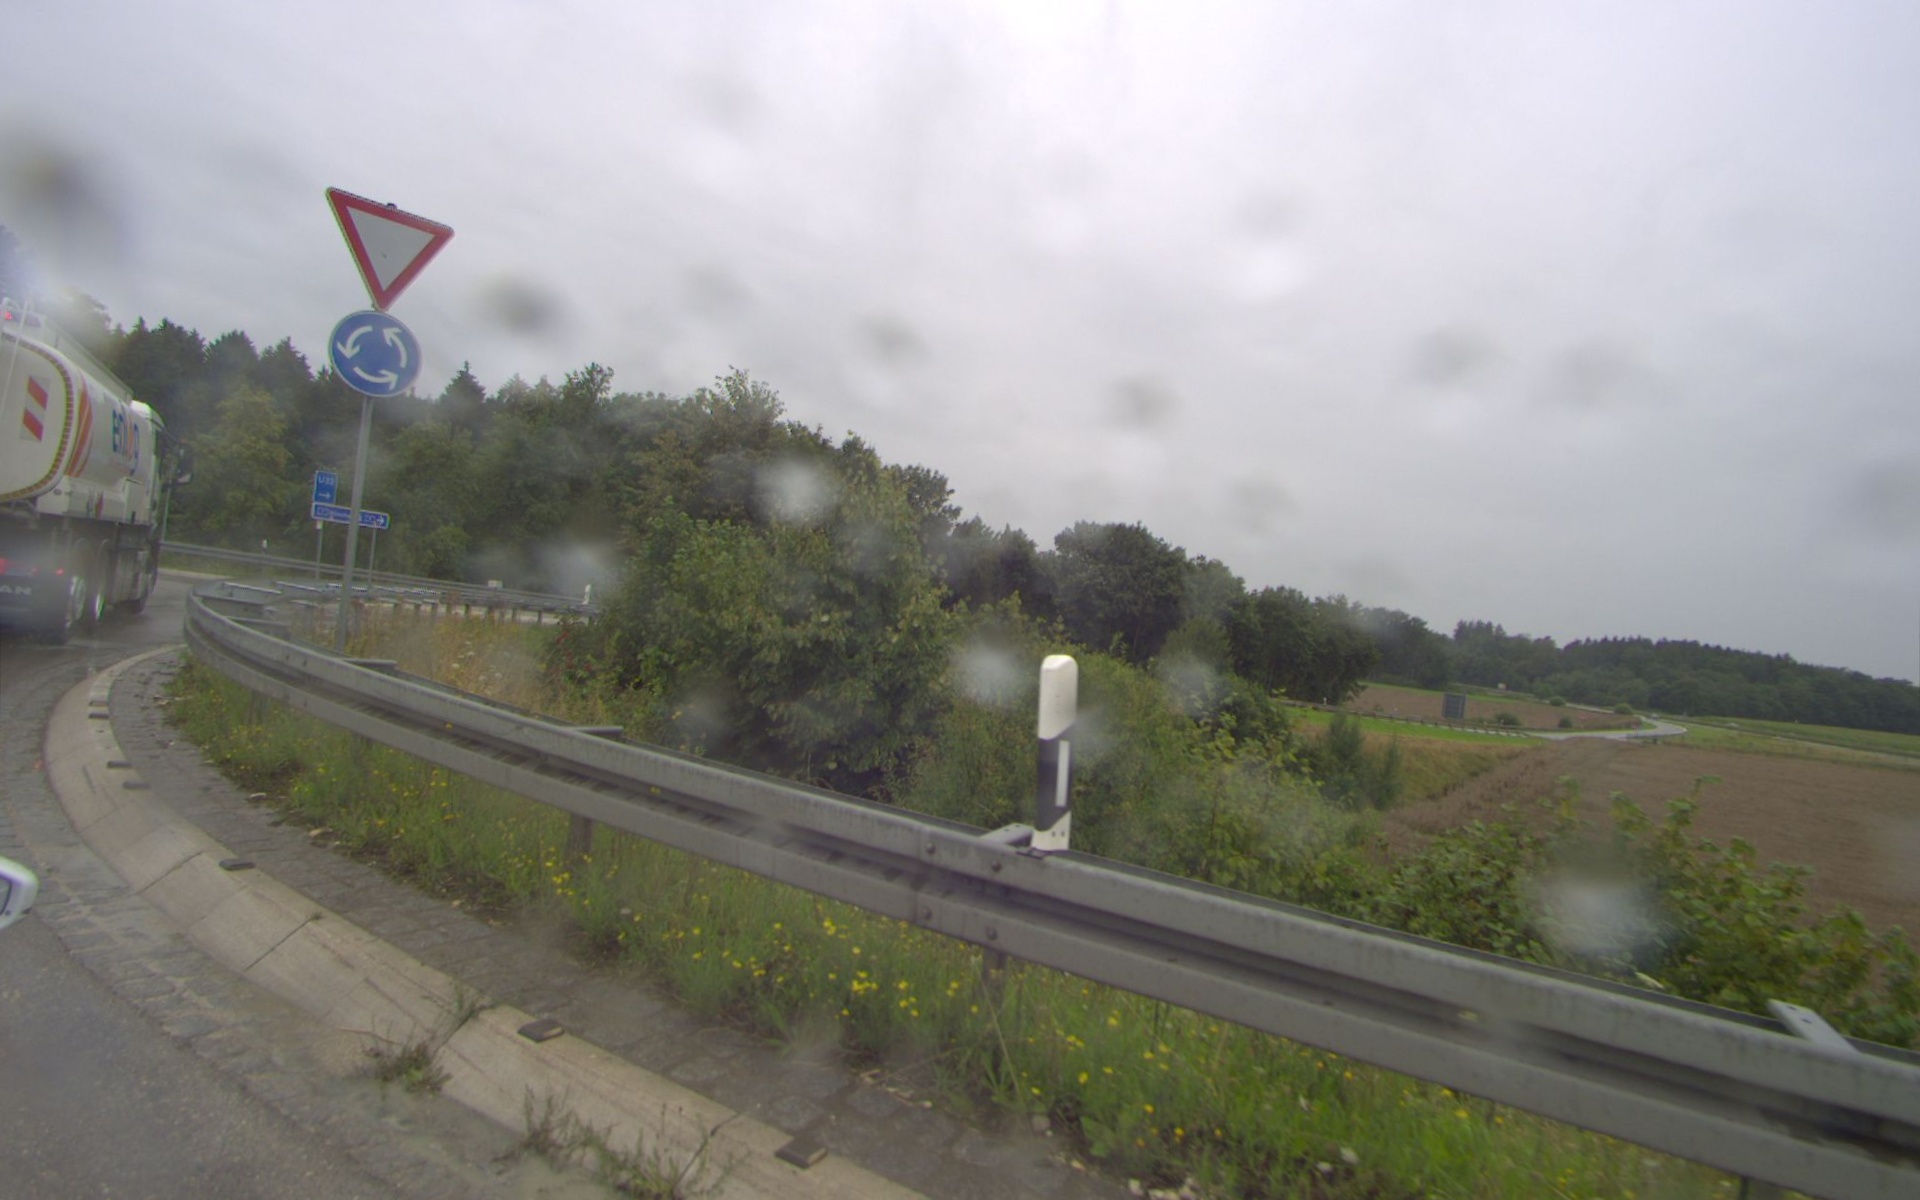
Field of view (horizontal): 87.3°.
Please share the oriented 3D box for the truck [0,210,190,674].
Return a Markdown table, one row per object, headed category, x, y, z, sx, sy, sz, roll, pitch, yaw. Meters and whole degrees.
| category | x | y | z | sx | sy | sz | roll | pitch | yaw |
| --- | --- | --- | --- | --- | --- | --- | --- | --- | --- |
| truck | -11.423 | -1.656 | 11.735 | 3.022 | 3.896 | 8.742 | 8 | -2 | -34 |
